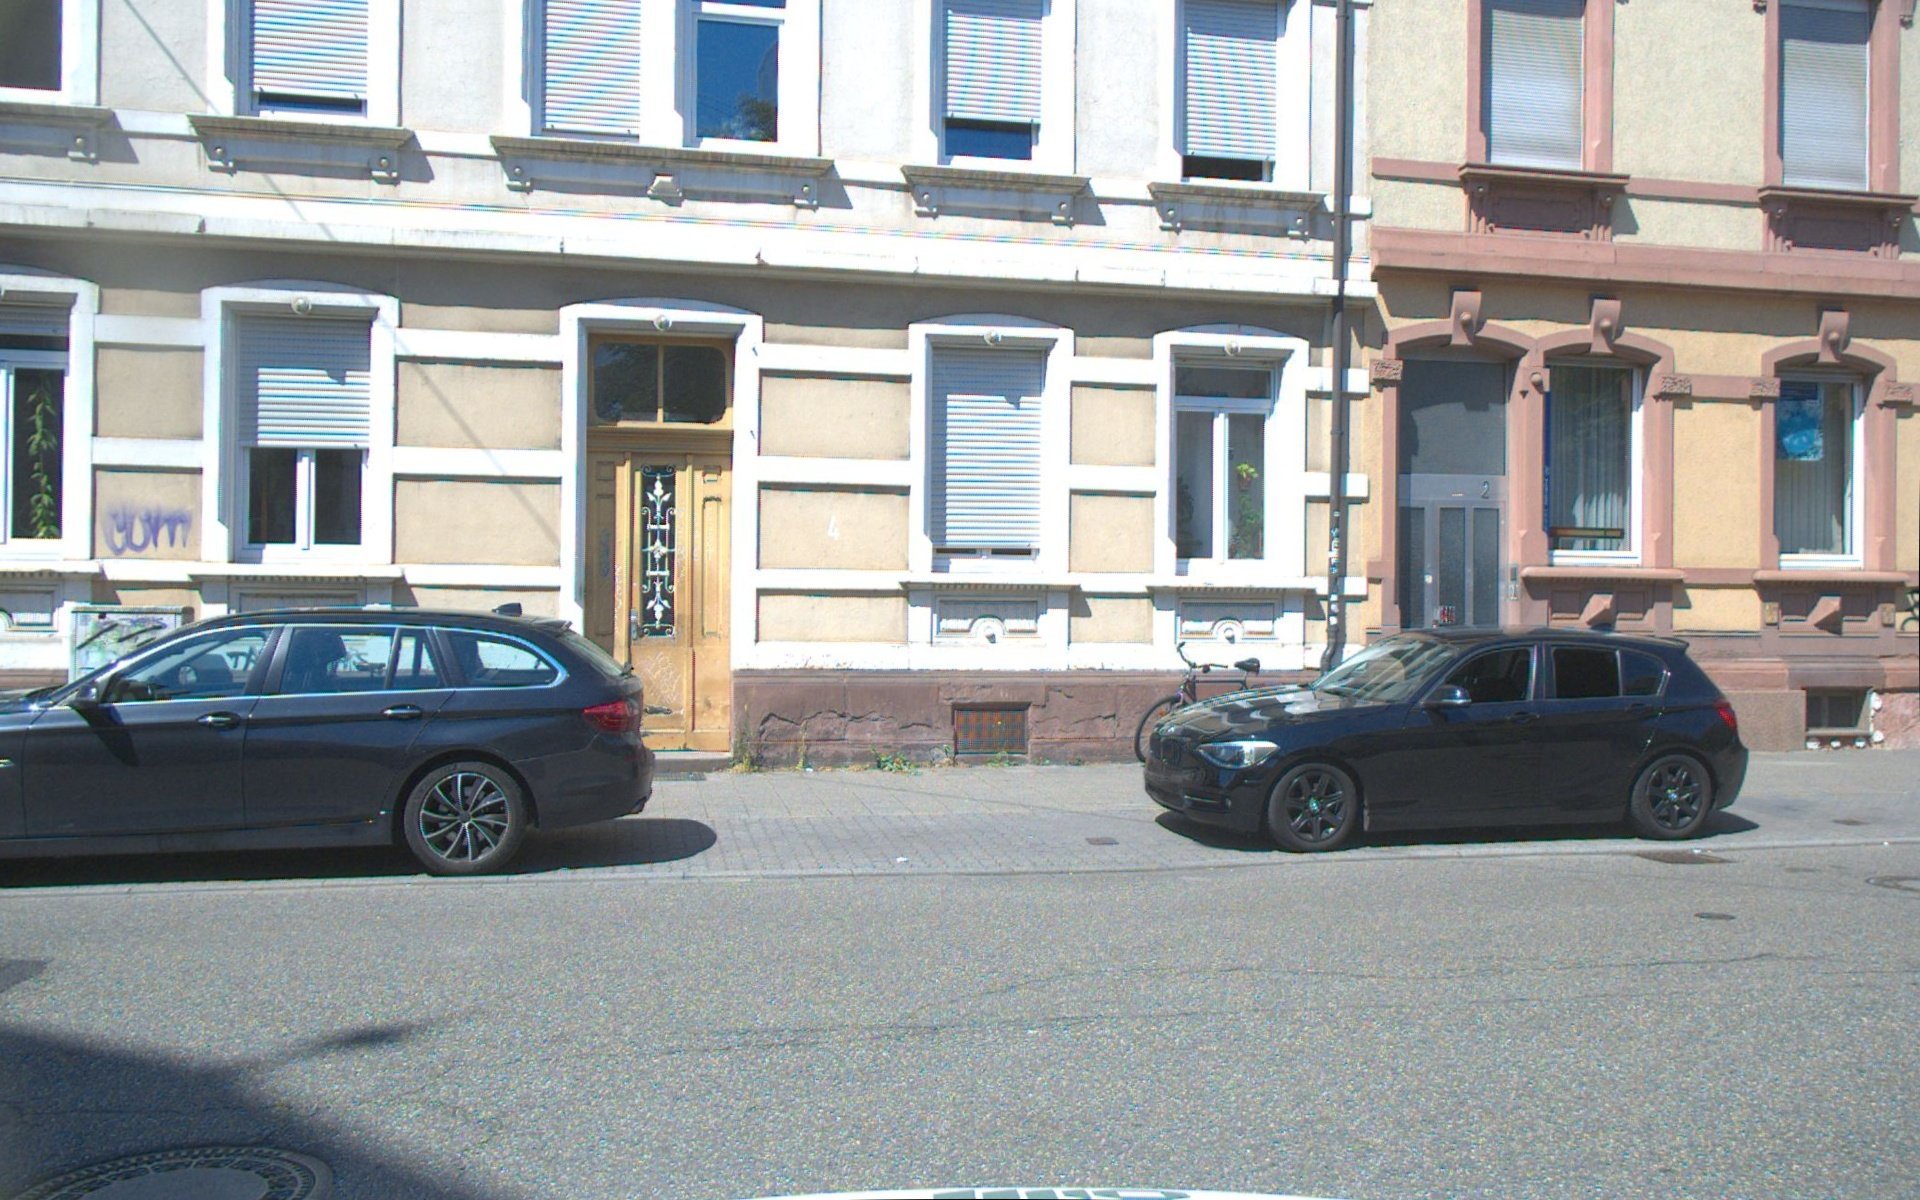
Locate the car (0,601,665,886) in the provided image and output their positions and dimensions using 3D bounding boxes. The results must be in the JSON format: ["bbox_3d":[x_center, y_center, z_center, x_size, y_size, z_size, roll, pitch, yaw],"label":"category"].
[{"bbox_3d":[-4.198,0.762,9.831,4.774,1.462,1.994,0,0,-12],"label":"car"}]

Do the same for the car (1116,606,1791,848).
[{"bbox_3d":[3.373,0.797,11.616,4.218,1.394,1.802,0,2,-12],"label":"car"}]

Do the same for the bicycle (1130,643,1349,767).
[{"bbox_3d":[2.550,0.944,15.072,1.971,1.039,0.422,0,2,-15],"label":"bicycle"}]
